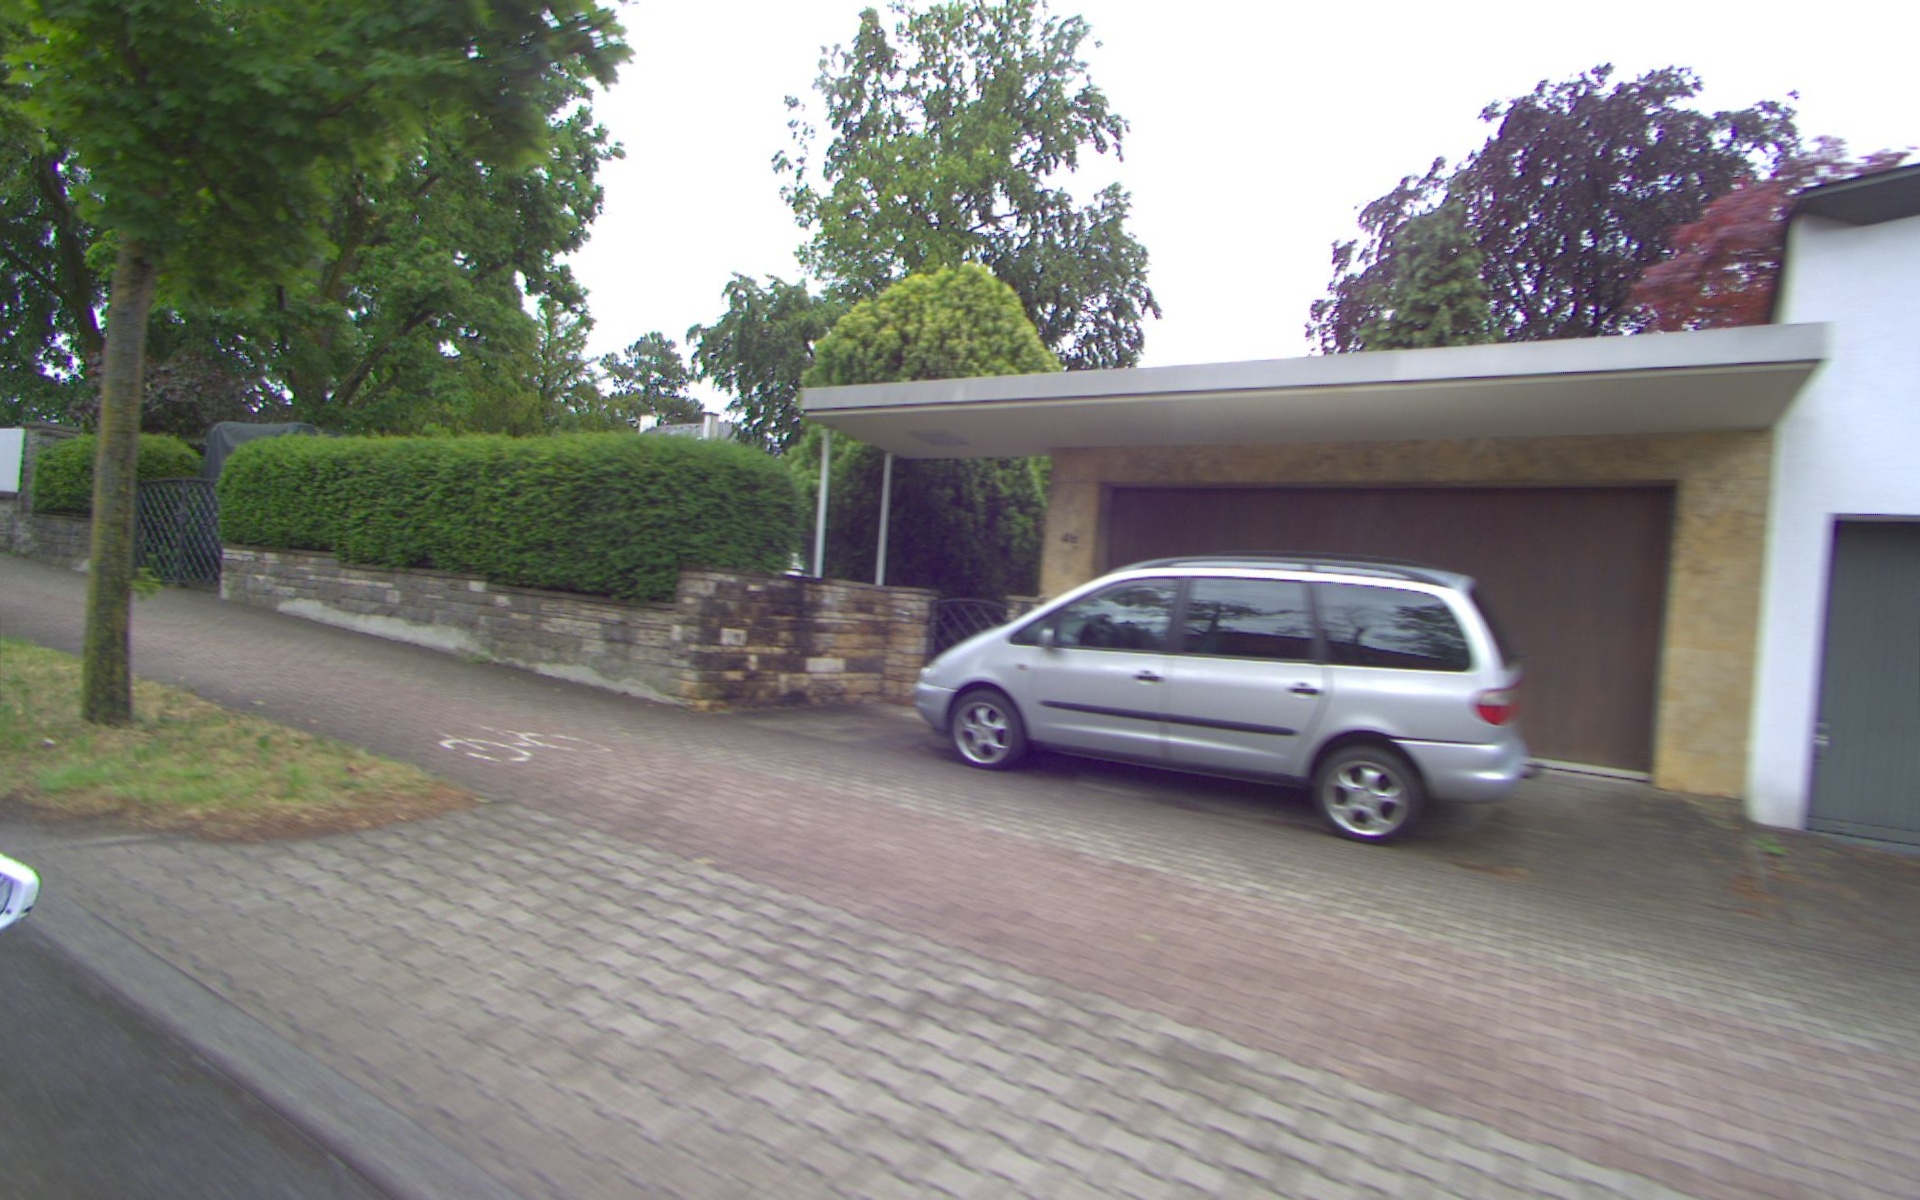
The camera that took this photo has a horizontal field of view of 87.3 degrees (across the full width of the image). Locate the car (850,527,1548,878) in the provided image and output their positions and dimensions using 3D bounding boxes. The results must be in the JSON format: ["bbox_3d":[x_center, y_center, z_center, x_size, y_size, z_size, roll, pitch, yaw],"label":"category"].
[{"bbox_3d":[1.696,0.560,7.889,4.860,1.780,1.796,6,1,31],"label":"car"}]
